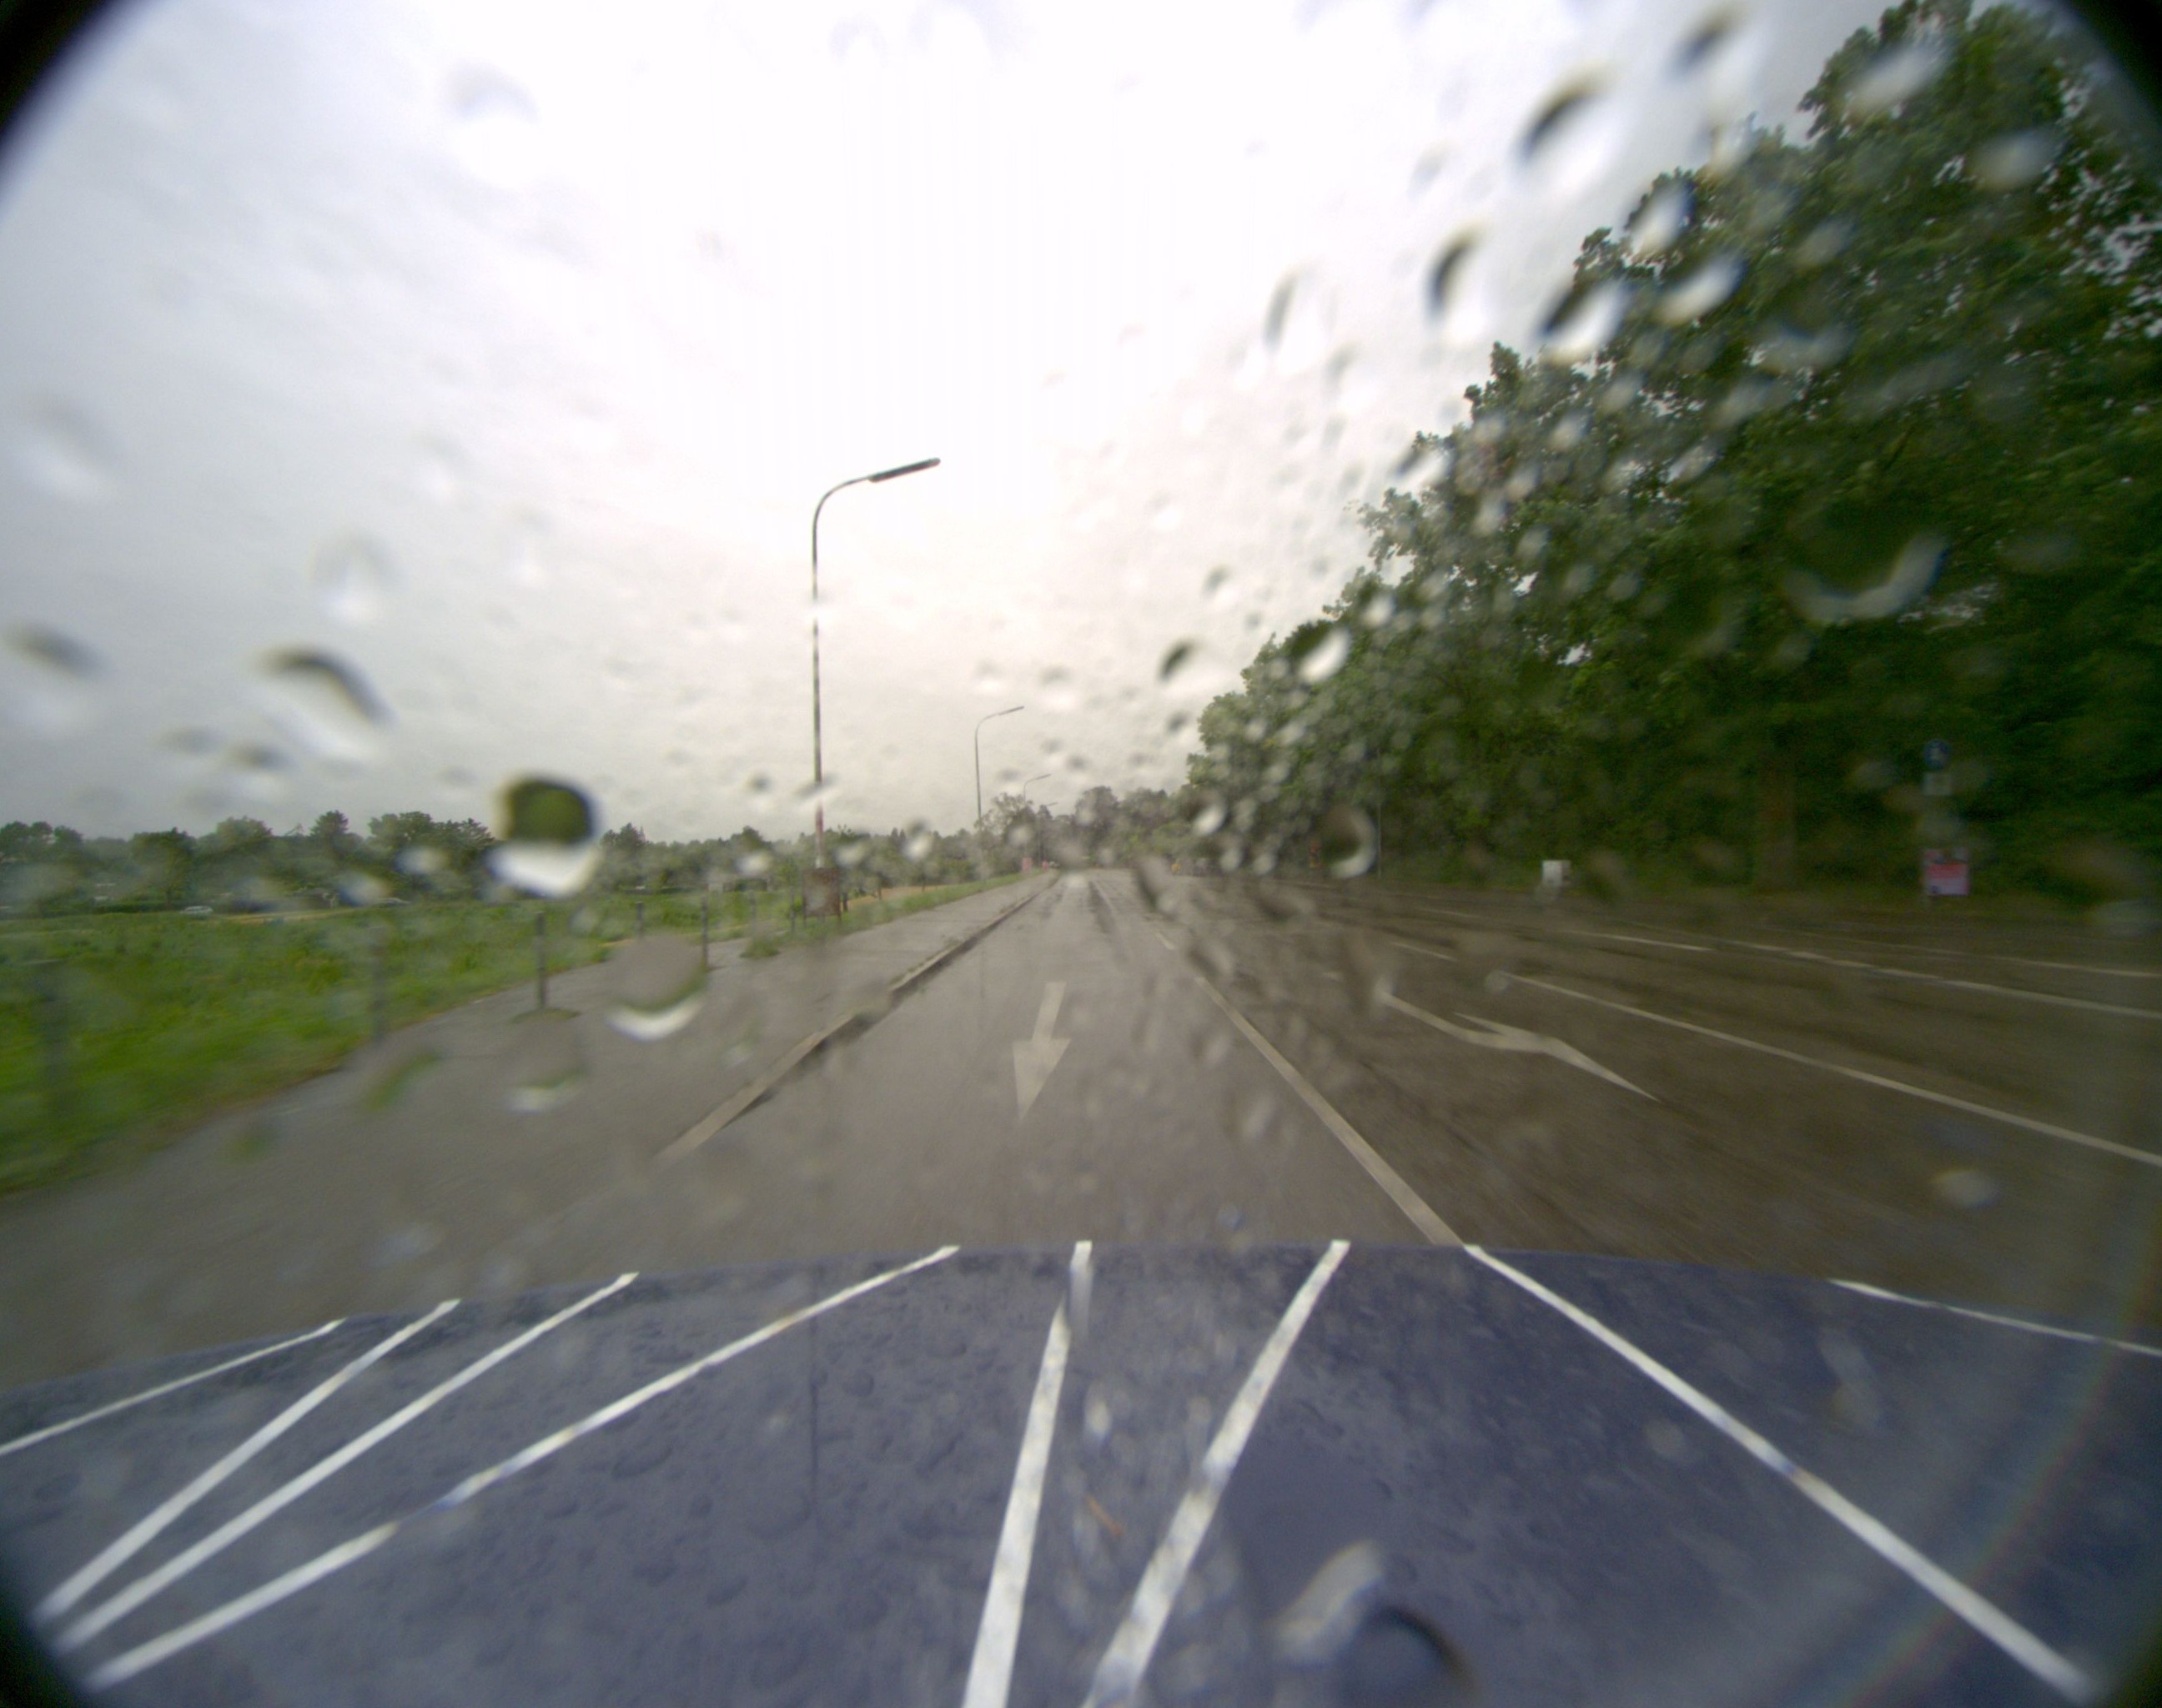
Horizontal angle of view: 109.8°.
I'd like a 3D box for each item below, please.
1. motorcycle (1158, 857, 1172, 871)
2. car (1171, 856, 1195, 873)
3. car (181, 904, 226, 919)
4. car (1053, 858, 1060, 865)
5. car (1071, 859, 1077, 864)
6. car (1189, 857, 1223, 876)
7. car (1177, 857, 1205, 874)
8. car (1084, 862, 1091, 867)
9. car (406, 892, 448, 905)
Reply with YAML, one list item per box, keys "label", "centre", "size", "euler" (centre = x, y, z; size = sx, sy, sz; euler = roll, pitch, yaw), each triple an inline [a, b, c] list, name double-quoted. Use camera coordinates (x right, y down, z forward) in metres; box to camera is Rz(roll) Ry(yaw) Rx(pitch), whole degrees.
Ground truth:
- label: "motorcycle"
  centre: [8.494, 1.026, 76.856]
  size: [0.840, 1.333, 2.497]
  euler: [-1, 0, -7]
- label: "car"
  centre: [9.400, 0.960, 70.102]
  size: [1.438, 1.528, 2.817]
  euler: [-1, 0, -9]
- label: "car"
  centre: [-109.750, 7.158, 95.094]
  size: [1.801, 1.501, 4.159]
  euler: [-3, 0, -19]
- label: "car"
  centre: [-6.948, 2.221, 215.518]
  size: [1.999, 2.001, 4.000]
  euler: [-1, -1, -2]
- label: "car"
  centre: [-2.408, 2.666, 261.495]
  size: [1.853, 1.583, 3.704]
  euler: [-2, -1, -3]
- label: "car"
  centre: [9.961, 0.960, 60.739]
  size: [1.691, 1.411, 4.740]
  euler: [-1, 0, -3]
- label: "car"
  centre: [9.500, 0.962, 65.965]
  size: [1.437, 1.411, 4.102]
  euler: [-1, 0, -6]
- label: "car"
  centre: [2.003, 3.052, 224.606]
  size: [1.853, 1.583, 3.704]
  euler: [-2, -1, -3]
- label: "car"
  centre: [-89.949, 6.102, 104.486]
  size: [4.000, 1.501, 1.799]
  euler: [-2, 1, -8]
